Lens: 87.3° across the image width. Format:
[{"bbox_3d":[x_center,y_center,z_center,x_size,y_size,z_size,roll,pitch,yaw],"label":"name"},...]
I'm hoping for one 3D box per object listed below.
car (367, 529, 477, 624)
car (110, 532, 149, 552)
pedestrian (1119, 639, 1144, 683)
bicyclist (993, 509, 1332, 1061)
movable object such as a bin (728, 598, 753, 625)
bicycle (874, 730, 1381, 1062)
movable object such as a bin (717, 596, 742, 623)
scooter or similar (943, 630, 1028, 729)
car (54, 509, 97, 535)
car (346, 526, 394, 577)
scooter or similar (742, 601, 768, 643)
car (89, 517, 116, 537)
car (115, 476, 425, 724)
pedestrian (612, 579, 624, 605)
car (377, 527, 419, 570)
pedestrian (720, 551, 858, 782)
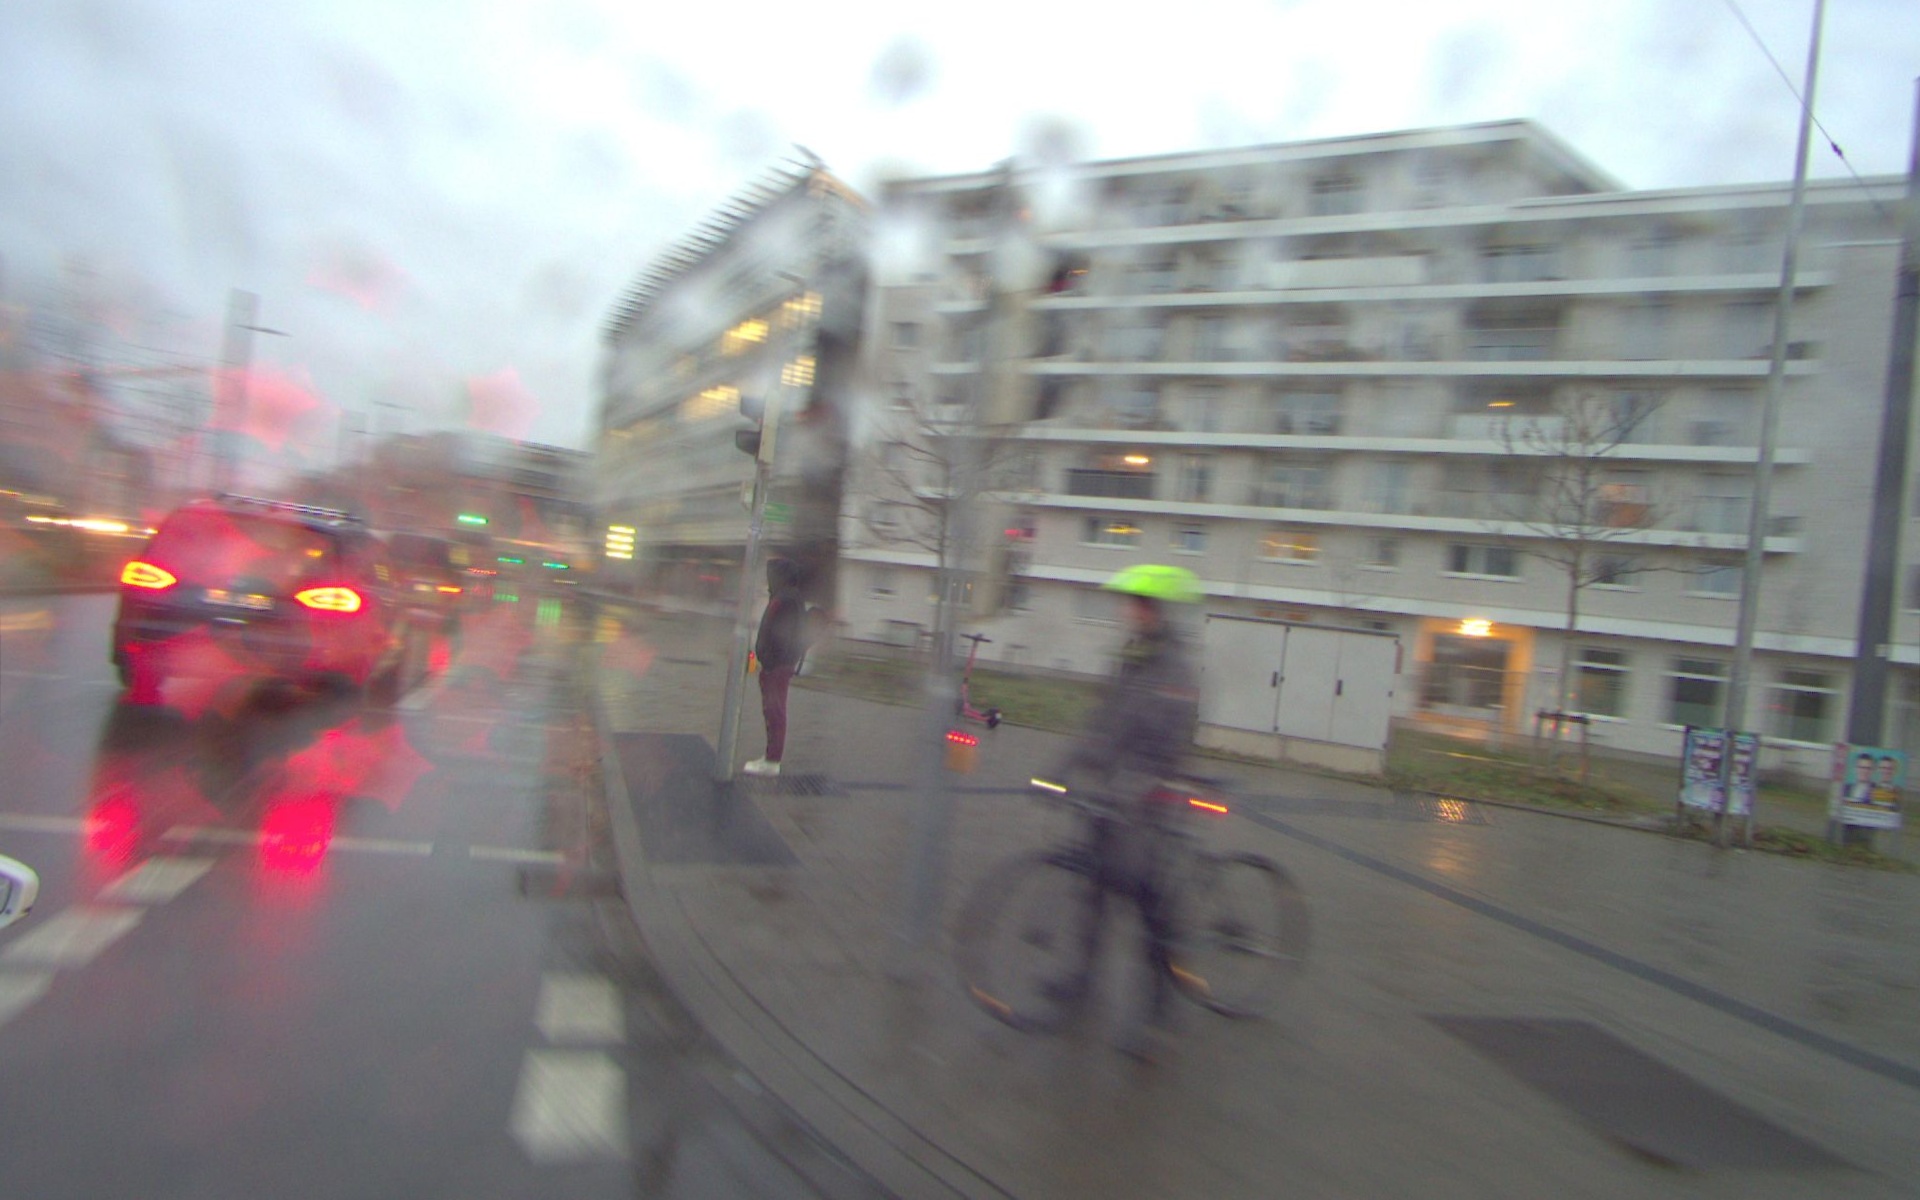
[{"bbox_3d":[-12.655,-0.559,23.900,1.826,1.827,4.461,8,-1,-24],"label":"car"},{"bbox_3d":[-76.884,-5.354,93.183,1.713,1.409,4.175,8,-2,-25],"label":"car"},{"bbox_3d":[6.933,2.463,40.714,0.622,1.652,0.721,7,0,-9],"label":"pedestrian"},{"bbox_3d":[0.755,0.691,4.069,0.971,1.913,0.793,7,0,-3],"label":"bicyclist"},{"bbox_3d":[-11.807,0.596,53.997,0.838,1.310,1.157,5,0,-35],"label":"movable object such as a bin"},{"bbox_3d":[0.630,1.168,4.132,1.833,0.985,0.657,7,-1,-3],"label":"bicycle"},{"bbox_3d":[-12.657,0.521,55.174,0.838,1.310,1.157,5,0,-35],"label":"movable object such as a bin"},{"bbox_3d":[0.333,1.082,13.984,0.331,1.221,1.296,7,-1,-36],"label":"scooter or similar"},{"bbox_3d":[-60.504,-5.306,68.848,1.806,1.459,3.916,8,-2,-37],"label":"car"},{"bbox_3d":[-33.142,-2.693,56.623,1.978,2.456,5.930,7,-1,-29],"label":"car"},{"bbox_3d":[-6.636,0.709,32.496,0.659,1.241,1.554,6,-2,-13],"label":"scooter or similar"},{"bbox_3d":[-68.563,-5.818,80.498,1.500,1.388,3.613,8,-3,-40],"label":"car"},{"bbox_3d":[-6.509,-0.013,9.980,1.658,1.800,3.978,8,-1,-24],"label":"car"},{"bbox_3d":[-23.810,-0.551,69.941,0.526,1.703,0.740,7,-1,-25],"label":"pedestrian"},{"bbox_3d":[-43.294,-3.945,77.618,2.336,2.860,6.316,8,-2,-28],"label":"car"},{"bbox_3d":[-1.490,0.576,8.798,0.771,1.900,0.627,7,0,-44],"label":"pedestrian"}]
